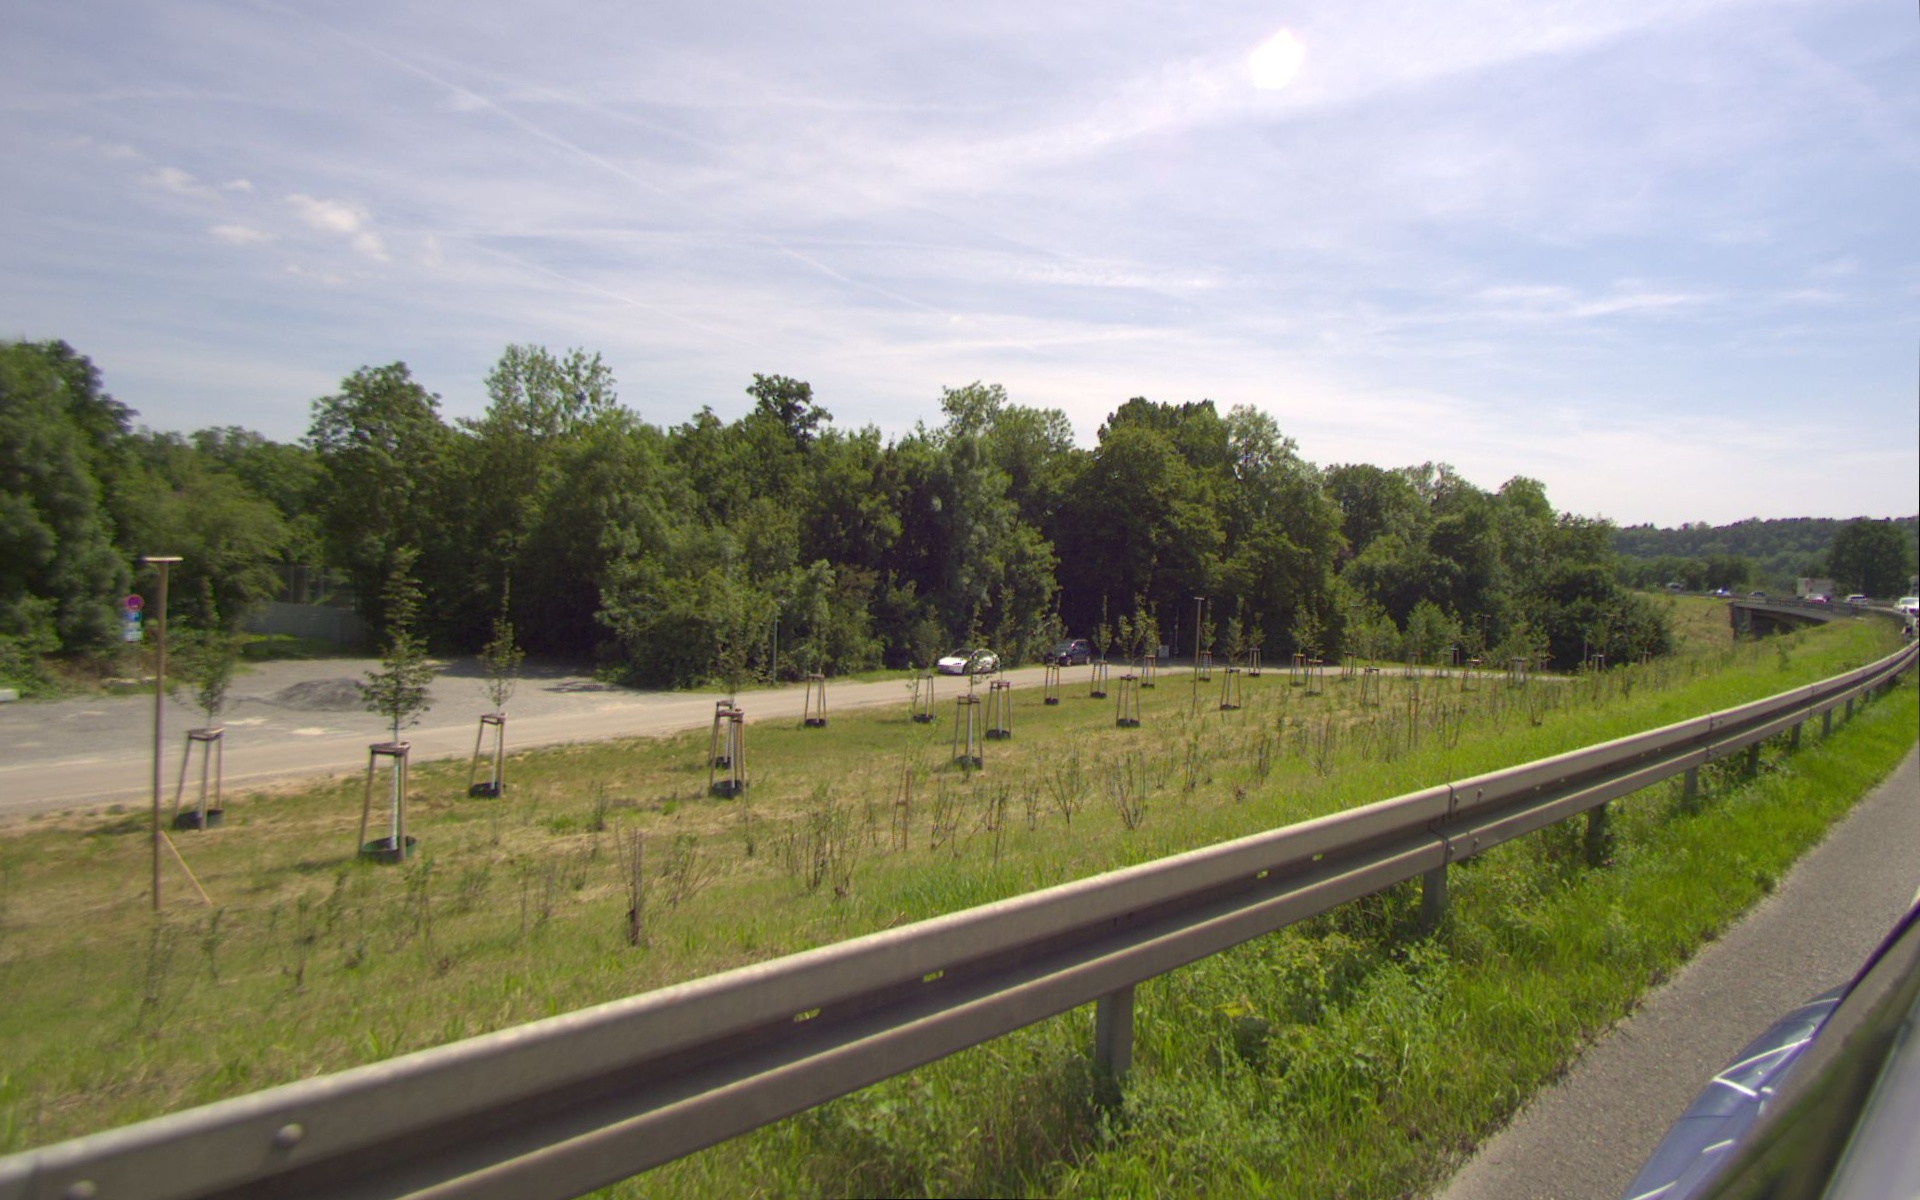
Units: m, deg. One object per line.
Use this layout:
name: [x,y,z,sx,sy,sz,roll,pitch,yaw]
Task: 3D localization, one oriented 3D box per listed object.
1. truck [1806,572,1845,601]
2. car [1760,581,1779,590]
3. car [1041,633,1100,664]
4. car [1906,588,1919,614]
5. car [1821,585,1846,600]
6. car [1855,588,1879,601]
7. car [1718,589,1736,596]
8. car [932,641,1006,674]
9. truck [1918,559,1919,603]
truck: [121.482,-1.897,142.142,2.904,3.851,9.590,1,1,34]
car: [139.400,-2.440,174.325,1.710,1.501,4.525,0,1,28]
car: [7.321,3.166,66.767,1.856,1.702,4.139,6,3,39]
car: [71.851,0.055,75.231,1.973,1.811,3.943,1,2,40]
car: [104.675,-0.921,121.284,1.970,1.754,3.948,1,2,36]
car: [109.889,-0.678,122.585,1.753,1.530,3.949,0,2,36]
car: [149.536,-1.471,197.292,1.707,1.453,4.580,0,1,24]
car: [0.577,3.250,57.896,1.854,1.500,4.546,6,3,37]
truck: [87.801,-1.672,90.034,3.112,4.007,6.531,1,1,38]
